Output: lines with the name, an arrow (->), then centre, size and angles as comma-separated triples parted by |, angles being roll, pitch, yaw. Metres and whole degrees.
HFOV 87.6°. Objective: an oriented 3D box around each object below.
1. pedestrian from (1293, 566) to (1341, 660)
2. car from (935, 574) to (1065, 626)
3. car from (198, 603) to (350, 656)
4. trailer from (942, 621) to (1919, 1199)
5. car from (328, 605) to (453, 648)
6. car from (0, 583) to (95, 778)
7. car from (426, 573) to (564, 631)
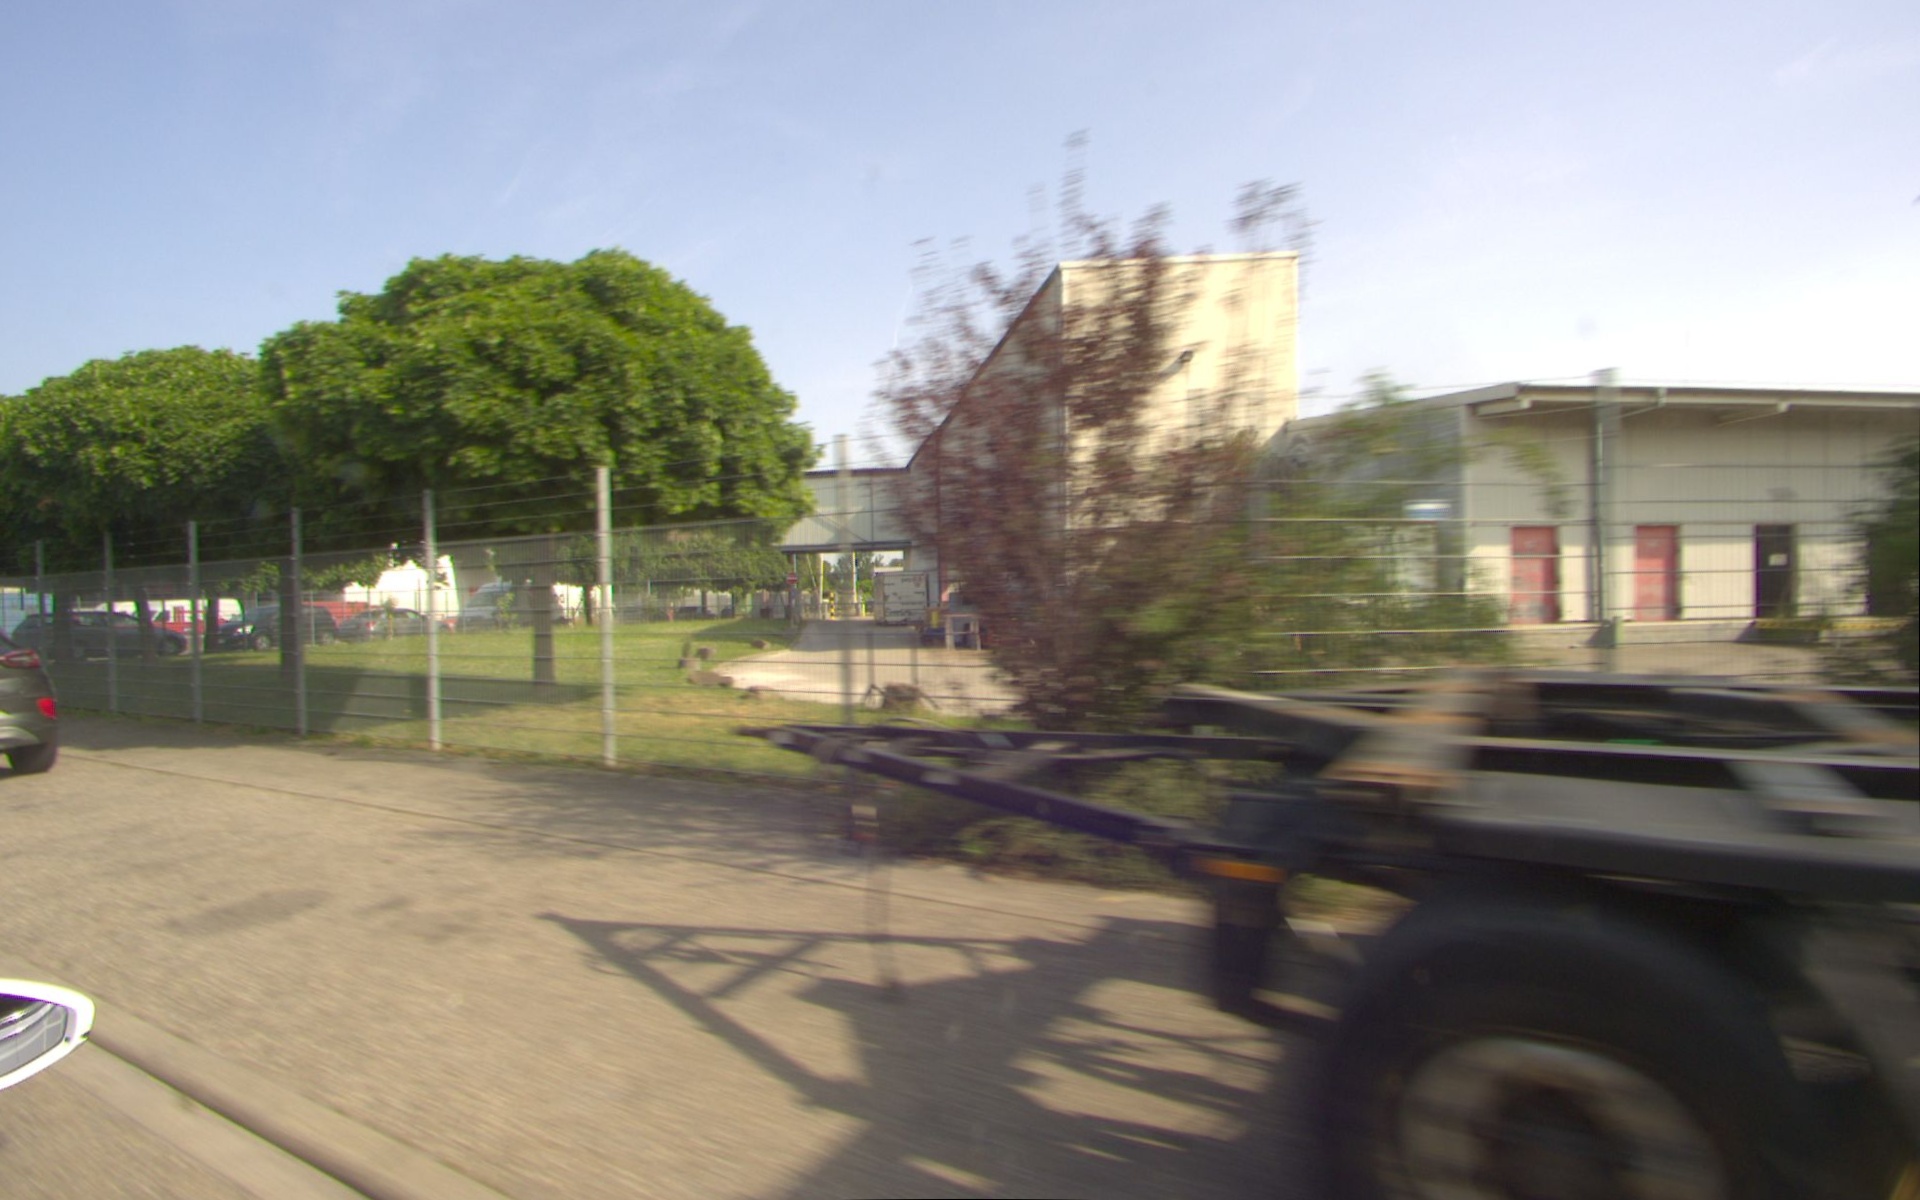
pedestrian -> 6.820, 0.244, 19.160 | 0.620, 1.745, 0.858 | 0, 1, 0
car -> 2.086, -0.023, 53.436 | 6.574, 2.551, 2.173 | -1, 1, -9
car -> -23.242, 0.947, 34.143 | 1.842, 1.647, 4.266 | 1, 0, 10
trailer -> 3.587, 0.727, 1.155 | 7.343, 1.253, 1.934 | 0, 2, 32
car -> -22.457, 1.006, 39.696 | 1.696, 1.537, 4.488 | -3, -1, 12
car -> -9.783, 0.713, 8.997 | 4.054, 1.595, 1.876 | -1, 1, 32
car -> -21.550, 0.094, 46.853 | 2.166, 2.516, 6.843 | 1, 0, 12
